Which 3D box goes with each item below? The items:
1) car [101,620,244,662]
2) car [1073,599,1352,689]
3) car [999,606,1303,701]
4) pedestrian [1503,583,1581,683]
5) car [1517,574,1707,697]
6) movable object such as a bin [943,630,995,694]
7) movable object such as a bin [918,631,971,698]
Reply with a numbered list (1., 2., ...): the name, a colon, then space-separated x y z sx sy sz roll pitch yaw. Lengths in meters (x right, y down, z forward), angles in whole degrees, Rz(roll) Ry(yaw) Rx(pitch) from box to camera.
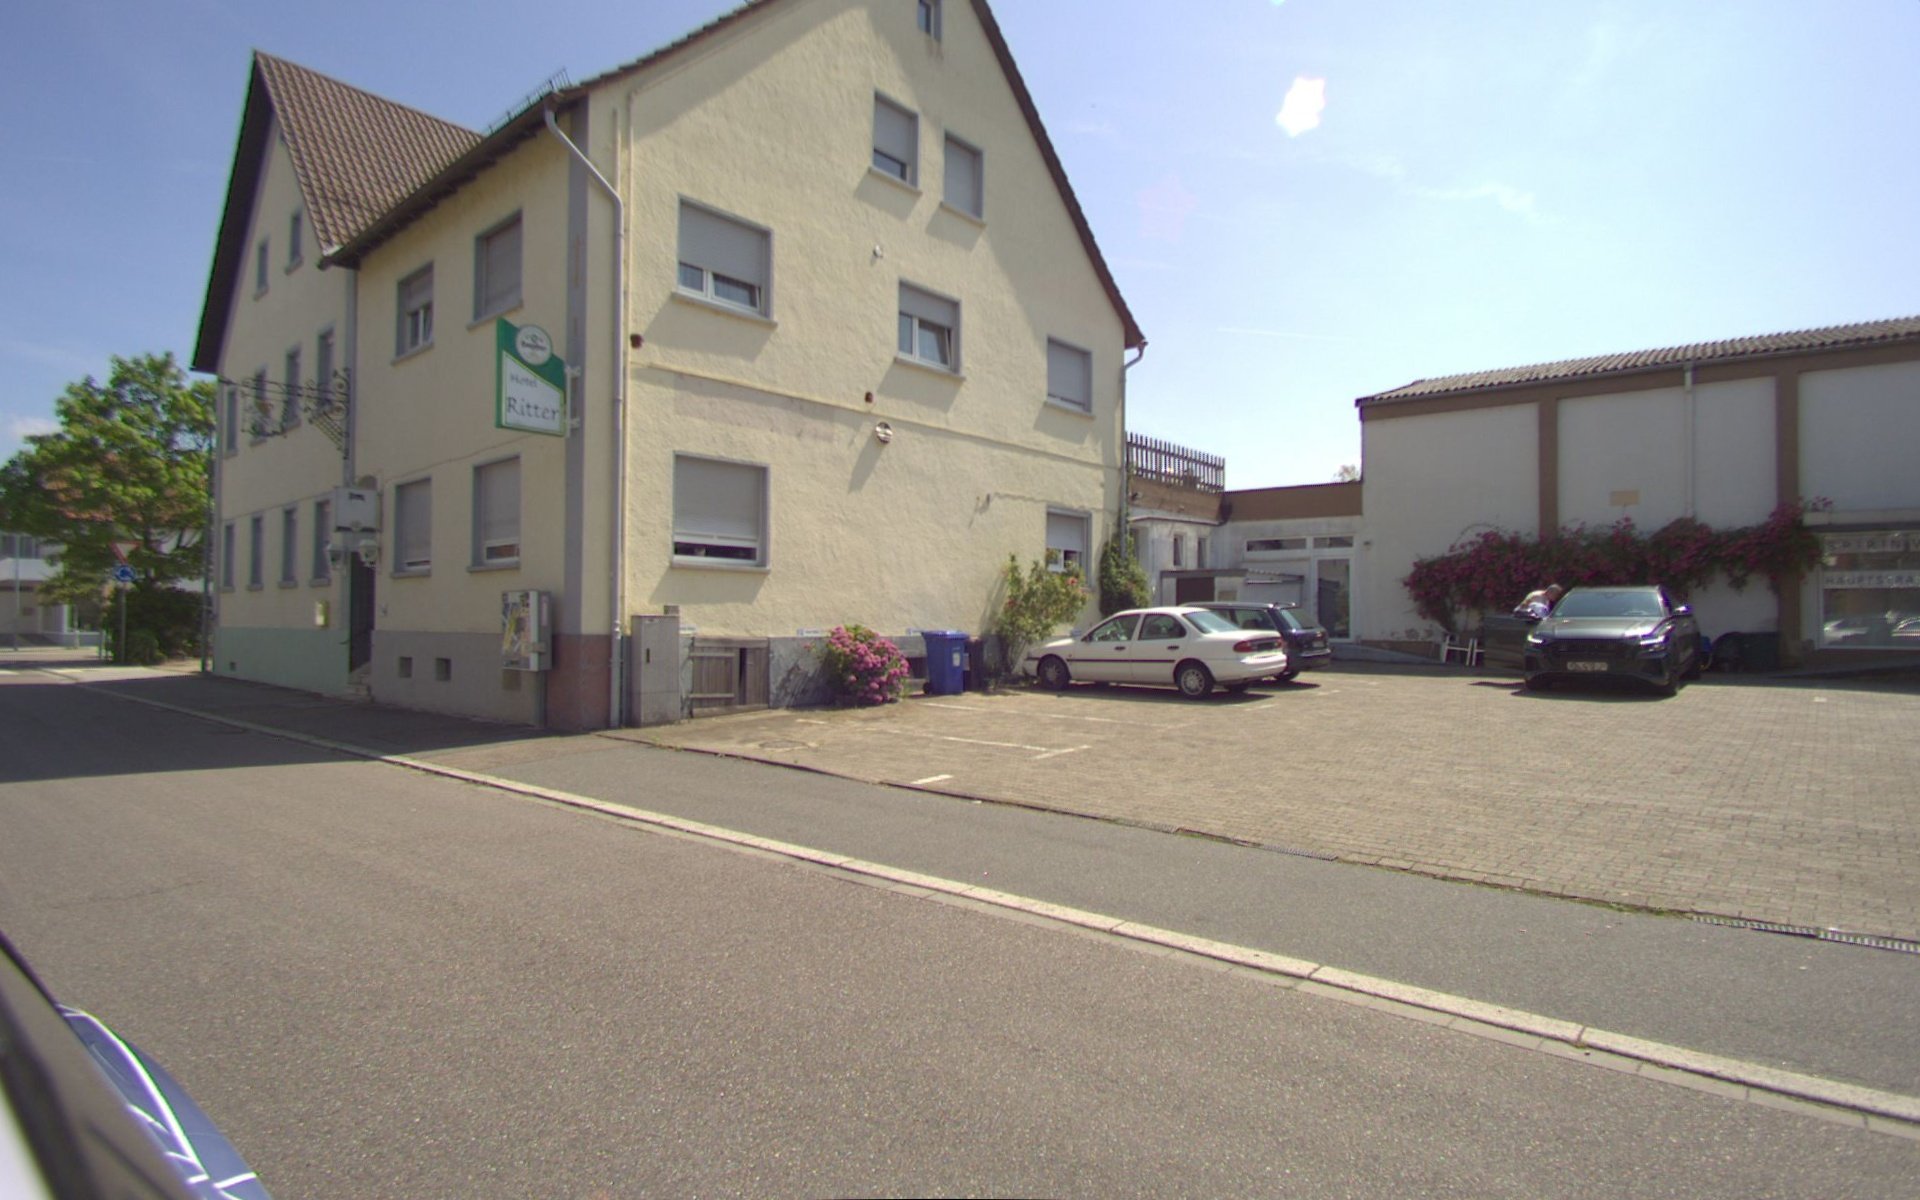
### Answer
1. car: -32.793 1.656 42.271 1.798 1.631 4.409 -1 -1 25
2. car: 4.642 0.773 19.131 4.828 1.492 1.805 -1 -1 42
3. car: 3.103 0.830 17.174 4.828 1.390 1.805 -1 -1 42
4. pedestrian: 10.065 0.559 17.522 0.817 1.670 0.787 0 -1 -16
5. car: 10.872 0.524 16.711 2.036 1.738 4.633 -1 -1 40
6. movable object such as a bin: 0.156 1.062 17.607 0.680 1.080 0.571 -1 -1 42
7. movable object such as a bin: -0.261 1.066 17.035 0.680 1.080 0.571 -1 -1 42
